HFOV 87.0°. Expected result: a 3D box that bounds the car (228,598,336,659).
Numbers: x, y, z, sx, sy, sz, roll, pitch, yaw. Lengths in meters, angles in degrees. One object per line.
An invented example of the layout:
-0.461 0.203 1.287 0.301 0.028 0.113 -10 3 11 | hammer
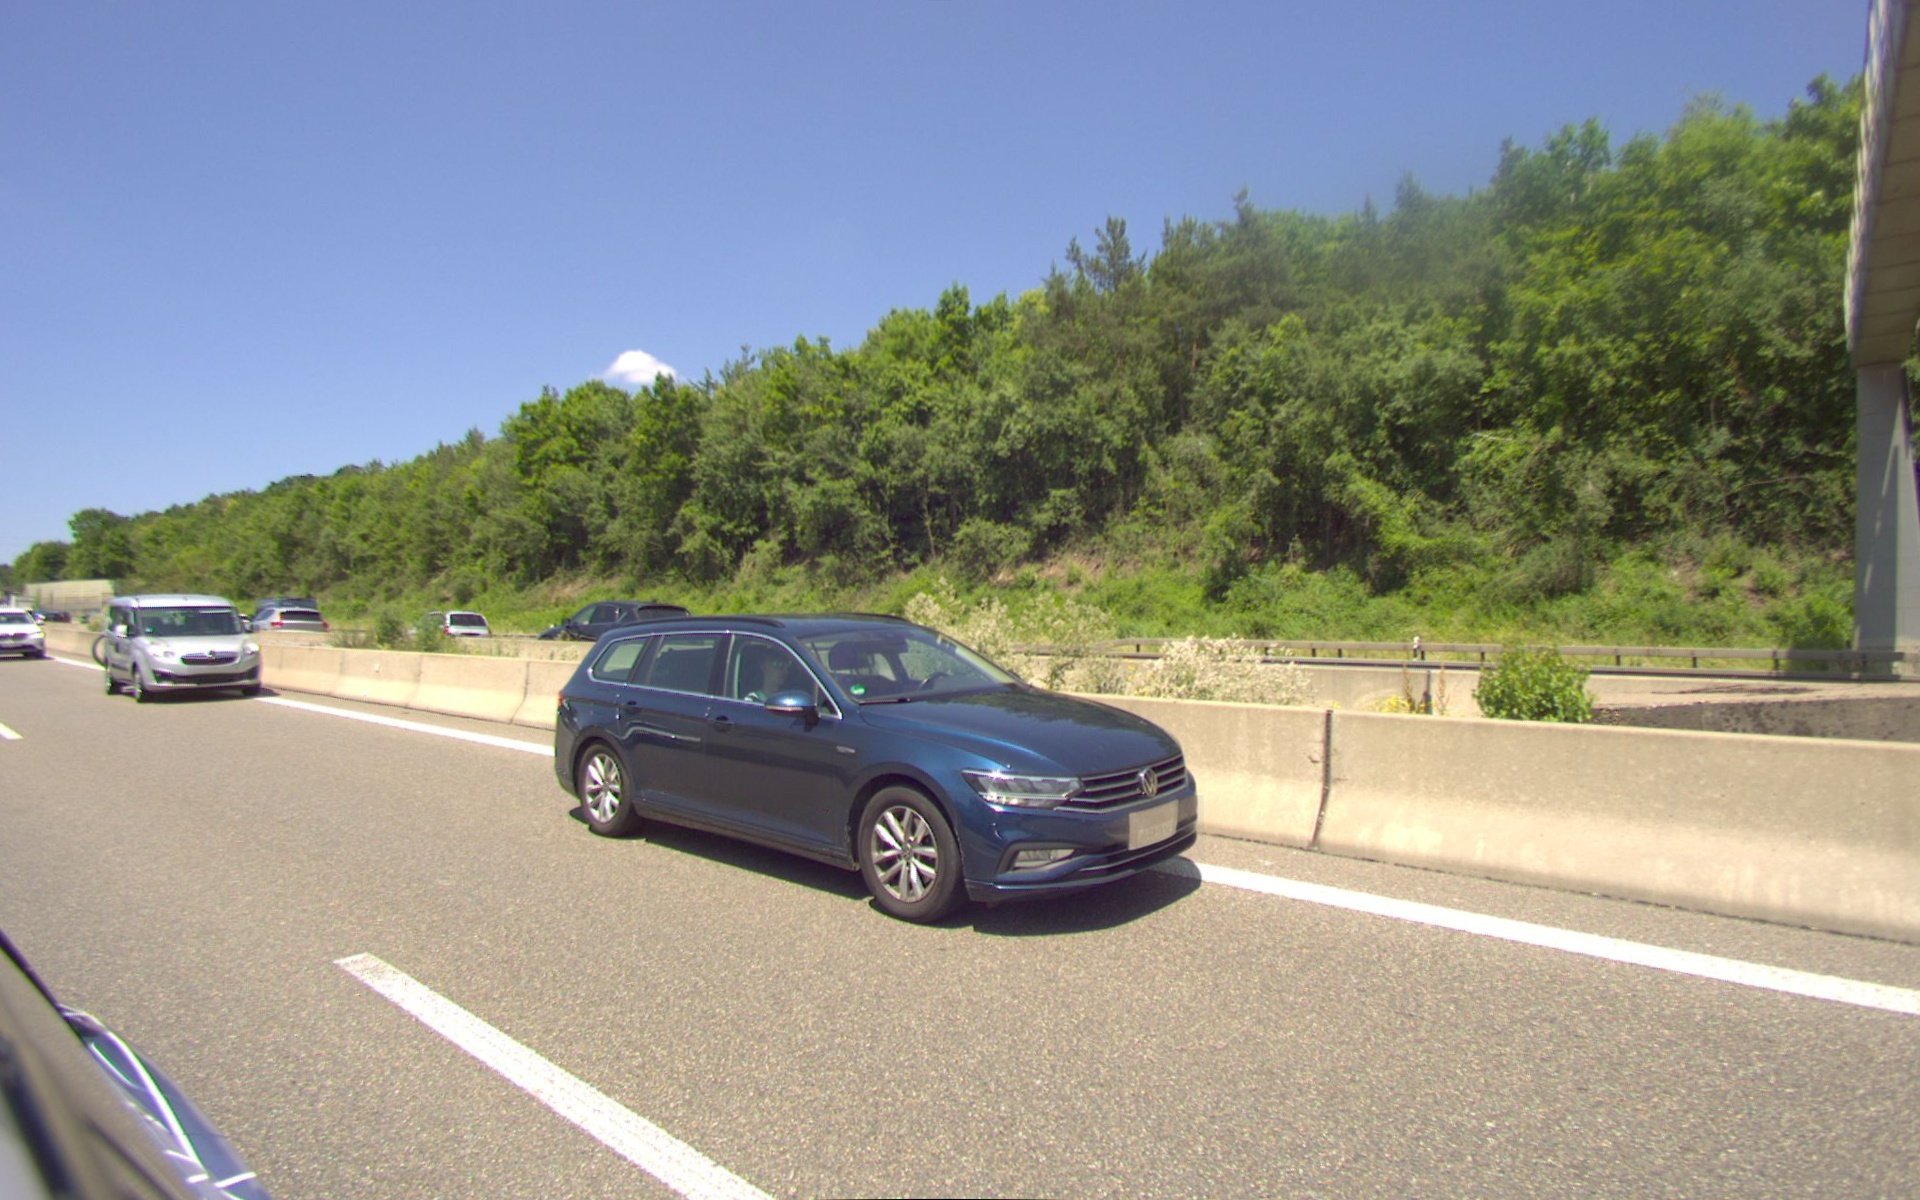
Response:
-24.383 0.989 36.304 5.385 2.029 1.972 -1 -1 42 | car

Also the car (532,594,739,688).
-6.720 0.729 20.733 4.511 1.705 1.973 0 1 41 | car

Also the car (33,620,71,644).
-65.705 2.323 73.249 3.833 1.583 1.760 1 1 44 | car

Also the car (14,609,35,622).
-148.925 2.442 161.032 4.363 2.029 2.101 1 1 42 | car

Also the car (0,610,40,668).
-31.351 1.228 32.858 3.999 1.719 1.800 1 1 42 | car

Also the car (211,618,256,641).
-59.337 2.413 82.595 4.511 1.705 1.973 0 1 41 | car

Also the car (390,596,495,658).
-18.016 0.909 35.178 3.923 2.029 1.893 -1 -1 40 | car

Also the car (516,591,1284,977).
-0.689 0.746 6.094 4.676 1.461 1.854 -2 -1 42 | car

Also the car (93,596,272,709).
-14.305 0.827 18.501 4.918 1.786 1.832 1 1 43 | car

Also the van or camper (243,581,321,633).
-39.745 0.366 59.218 6.649 2.880 2.132 0 1 41 | van or camper

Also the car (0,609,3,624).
-132.295 2.258 138.214 3.997 2.029 1.950 -1 -1 41 | car

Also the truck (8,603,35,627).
-161.812 2.566 174.408 7.988 4.019 2.664 0 1 42 | truck
